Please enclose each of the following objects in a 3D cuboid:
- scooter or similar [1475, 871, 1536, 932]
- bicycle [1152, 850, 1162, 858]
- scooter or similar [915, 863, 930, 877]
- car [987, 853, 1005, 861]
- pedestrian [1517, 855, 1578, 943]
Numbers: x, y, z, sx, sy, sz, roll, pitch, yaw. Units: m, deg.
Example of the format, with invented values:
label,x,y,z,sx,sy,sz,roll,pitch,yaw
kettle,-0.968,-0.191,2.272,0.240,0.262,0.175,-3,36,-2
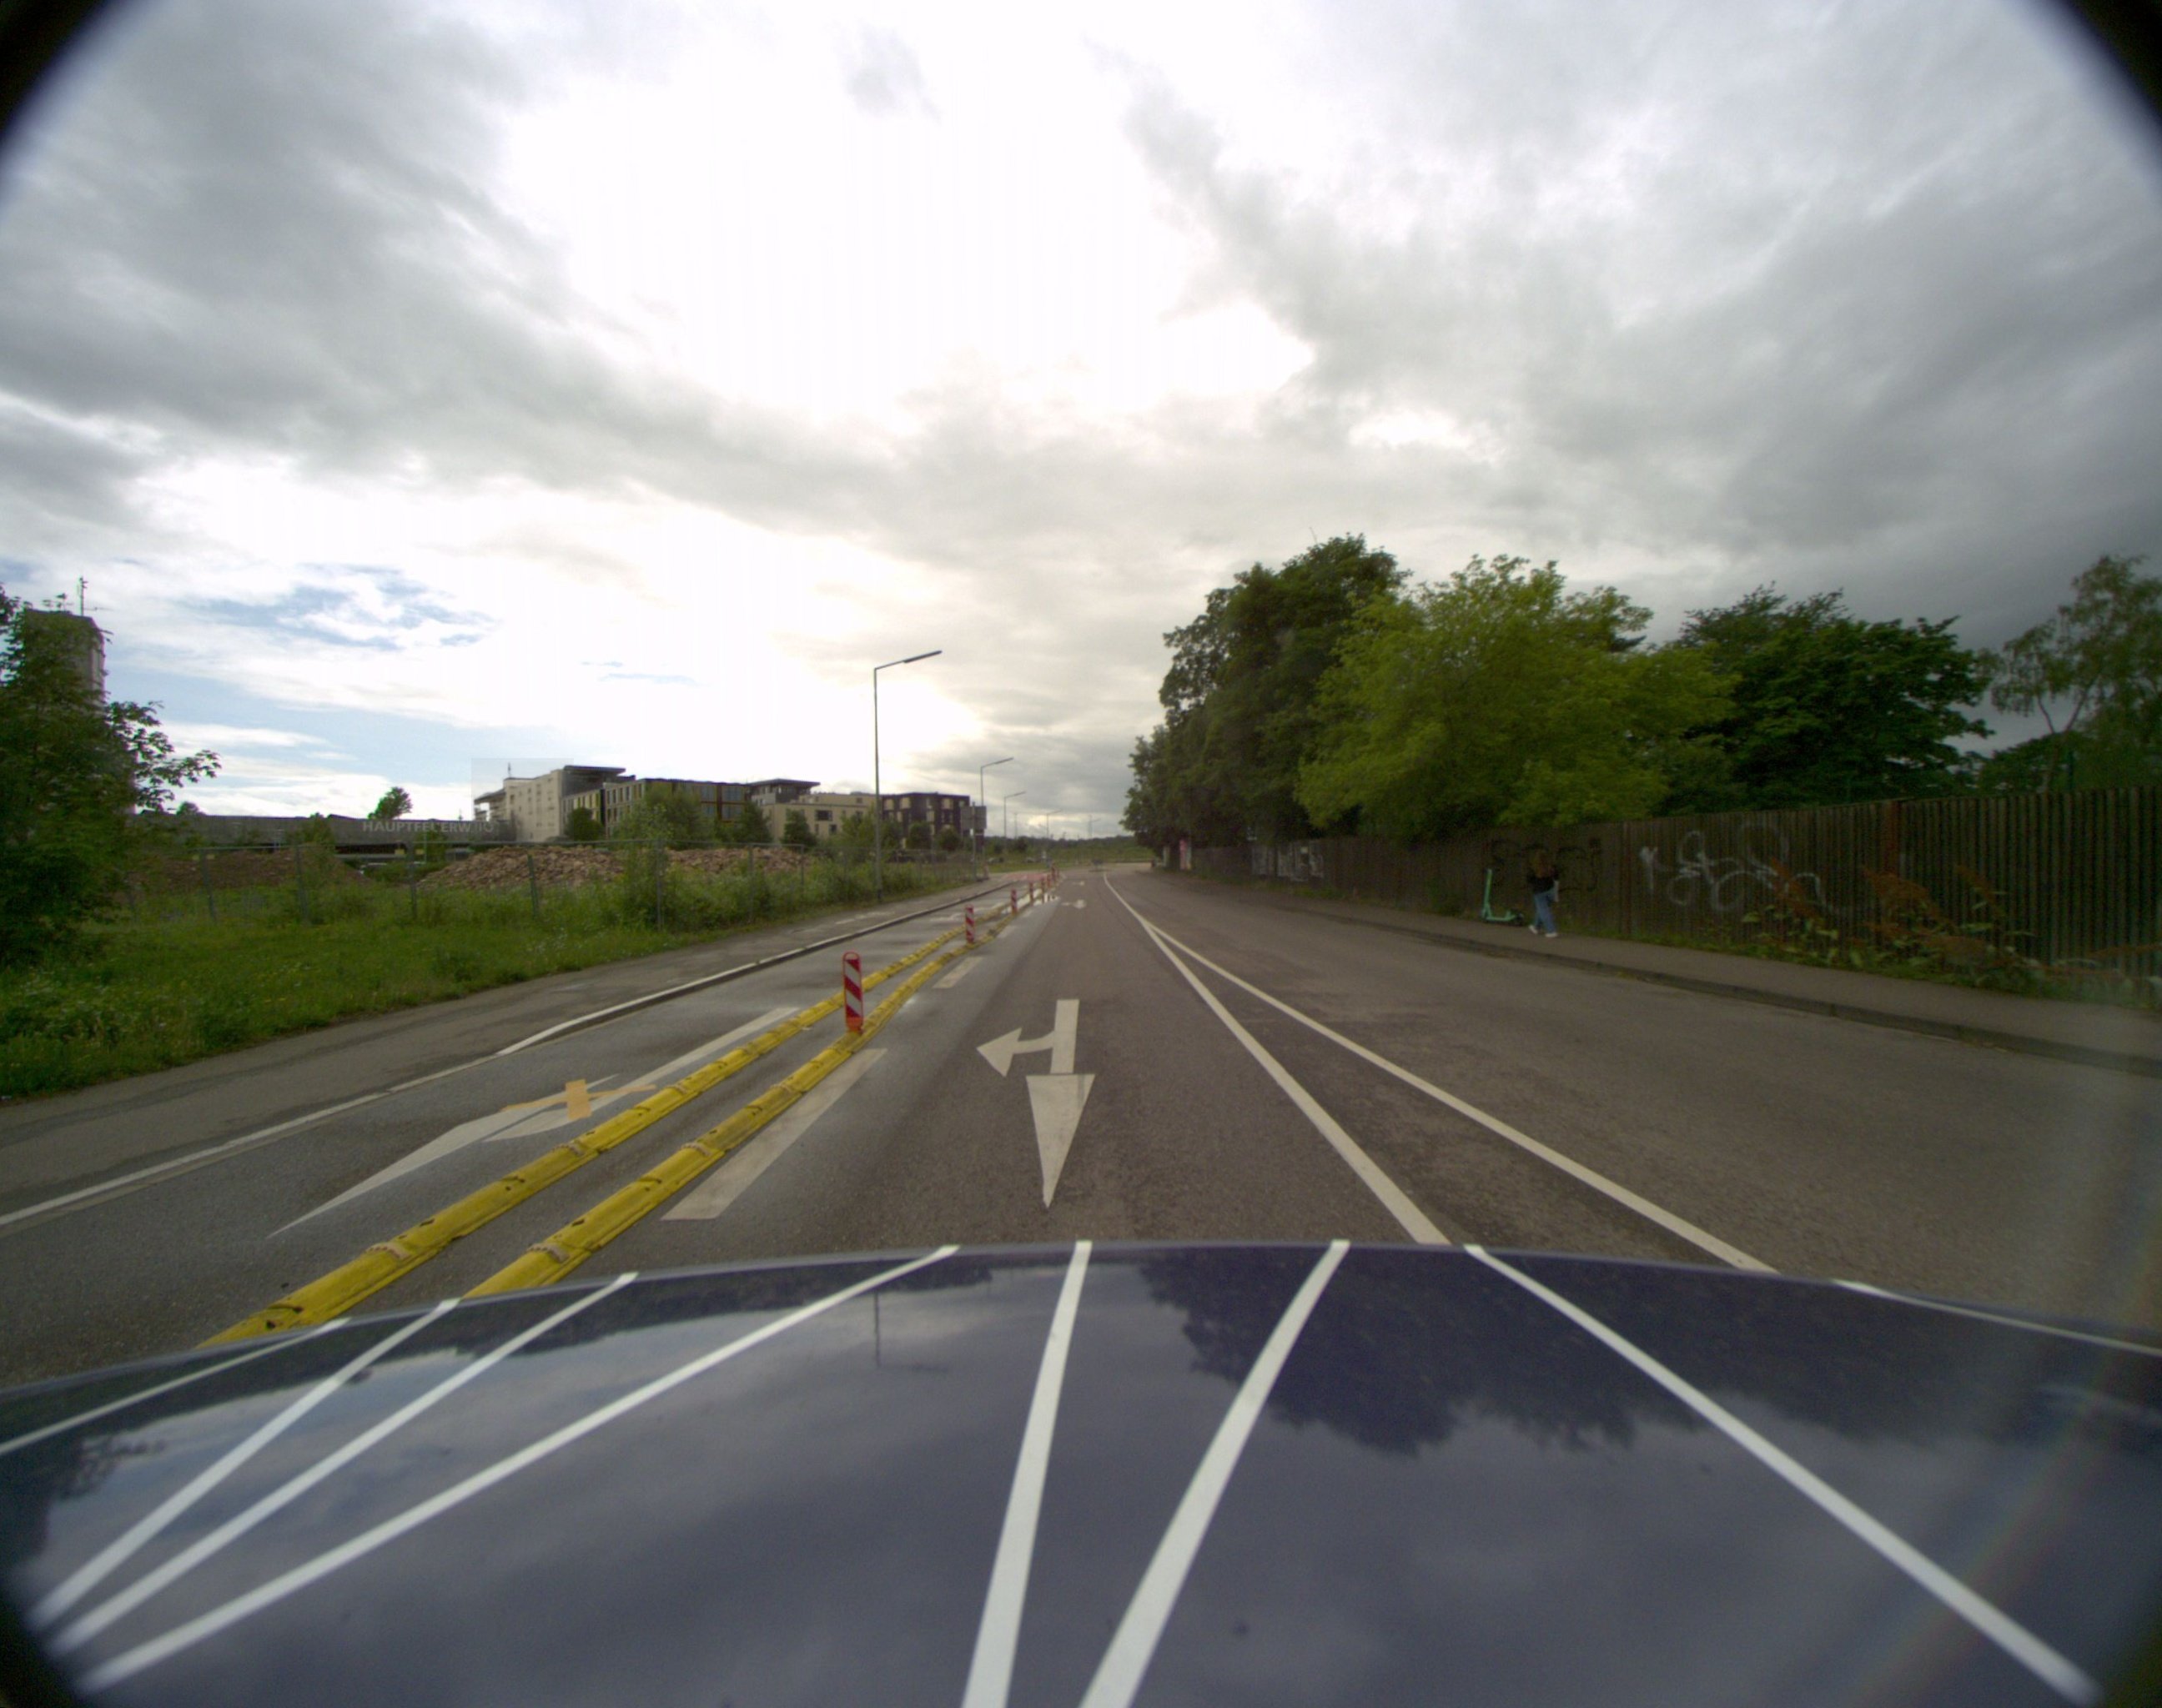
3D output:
label,x,y,z,sx,sy,sz,roll,pitch,yaw
scooter or similar,8.619,0.942,15.458,0.424,1.164,1.303,-1,0,-5
bicycle,9.342,-0.001,93.080,0.582,0.992,1.773,-3,0,28
scooter or similar,-13.186,1.324,63.174,1.323,1.178,0.447,0,1,41
car,-21.209,0.668,189.461,1.994,2.002,4.008,0,0,42
pedestrian,8.279,0.773,13.509,0.614,1.520,0.724,-1,1,-4
